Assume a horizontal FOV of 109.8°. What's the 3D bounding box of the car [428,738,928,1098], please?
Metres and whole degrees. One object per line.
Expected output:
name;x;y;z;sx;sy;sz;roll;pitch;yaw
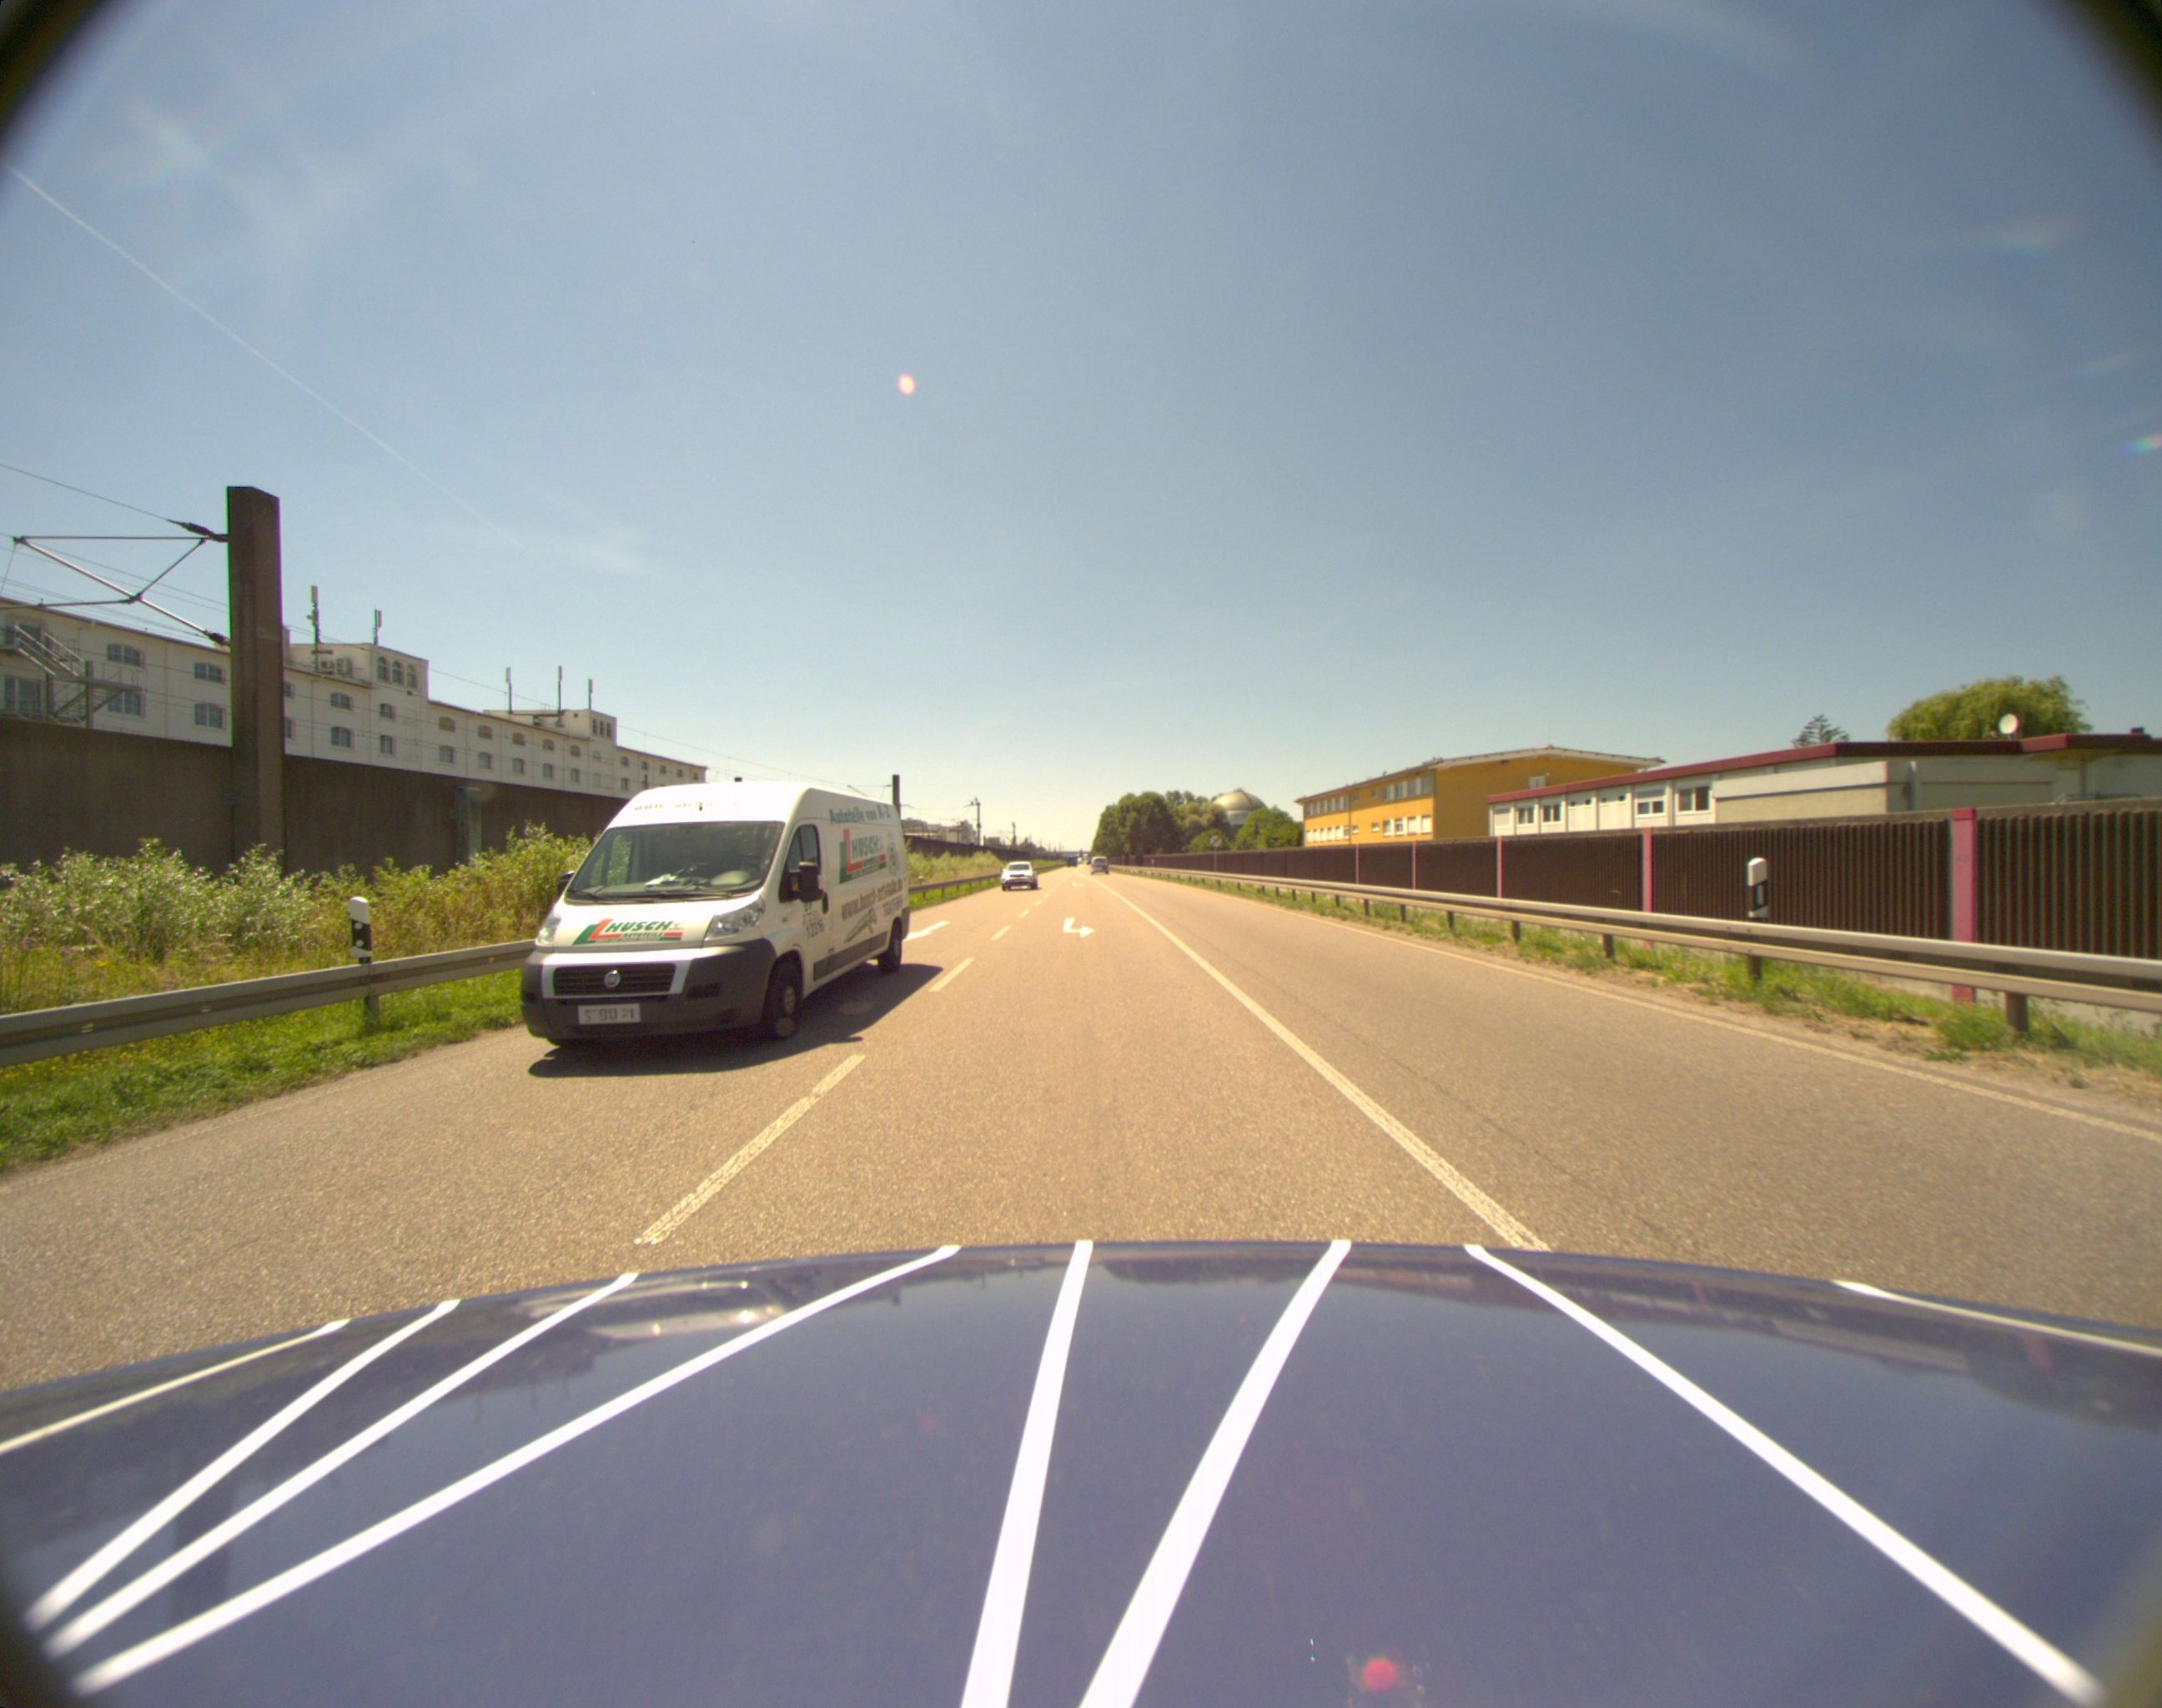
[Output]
car;-3.678;0.492;9.030;2.194;2.588;6.750;-2;0;0

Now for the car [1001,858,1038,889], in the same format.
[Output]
car;-3.403;1.055;42.767;1.823;1.554;4.278;-2;0;-2

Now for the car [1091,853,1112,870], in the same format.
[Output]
car;2.166;0.788;79.907;1.892;1.730;4.776;-2;0;-2

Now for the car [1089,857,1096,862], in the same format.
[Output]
car;3.440;1.621;221.563;1.849;1.382;4.190;-2;0;0

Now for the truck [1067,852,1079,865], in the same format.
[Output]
truck;-1.789;1.051;179.079;2.617;3.024;10.655;-1;0;0

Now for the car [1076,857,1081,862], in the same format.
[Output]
car;-0.746;1.823;249.801;1.730;1.464;3.889;-1;0;-1
